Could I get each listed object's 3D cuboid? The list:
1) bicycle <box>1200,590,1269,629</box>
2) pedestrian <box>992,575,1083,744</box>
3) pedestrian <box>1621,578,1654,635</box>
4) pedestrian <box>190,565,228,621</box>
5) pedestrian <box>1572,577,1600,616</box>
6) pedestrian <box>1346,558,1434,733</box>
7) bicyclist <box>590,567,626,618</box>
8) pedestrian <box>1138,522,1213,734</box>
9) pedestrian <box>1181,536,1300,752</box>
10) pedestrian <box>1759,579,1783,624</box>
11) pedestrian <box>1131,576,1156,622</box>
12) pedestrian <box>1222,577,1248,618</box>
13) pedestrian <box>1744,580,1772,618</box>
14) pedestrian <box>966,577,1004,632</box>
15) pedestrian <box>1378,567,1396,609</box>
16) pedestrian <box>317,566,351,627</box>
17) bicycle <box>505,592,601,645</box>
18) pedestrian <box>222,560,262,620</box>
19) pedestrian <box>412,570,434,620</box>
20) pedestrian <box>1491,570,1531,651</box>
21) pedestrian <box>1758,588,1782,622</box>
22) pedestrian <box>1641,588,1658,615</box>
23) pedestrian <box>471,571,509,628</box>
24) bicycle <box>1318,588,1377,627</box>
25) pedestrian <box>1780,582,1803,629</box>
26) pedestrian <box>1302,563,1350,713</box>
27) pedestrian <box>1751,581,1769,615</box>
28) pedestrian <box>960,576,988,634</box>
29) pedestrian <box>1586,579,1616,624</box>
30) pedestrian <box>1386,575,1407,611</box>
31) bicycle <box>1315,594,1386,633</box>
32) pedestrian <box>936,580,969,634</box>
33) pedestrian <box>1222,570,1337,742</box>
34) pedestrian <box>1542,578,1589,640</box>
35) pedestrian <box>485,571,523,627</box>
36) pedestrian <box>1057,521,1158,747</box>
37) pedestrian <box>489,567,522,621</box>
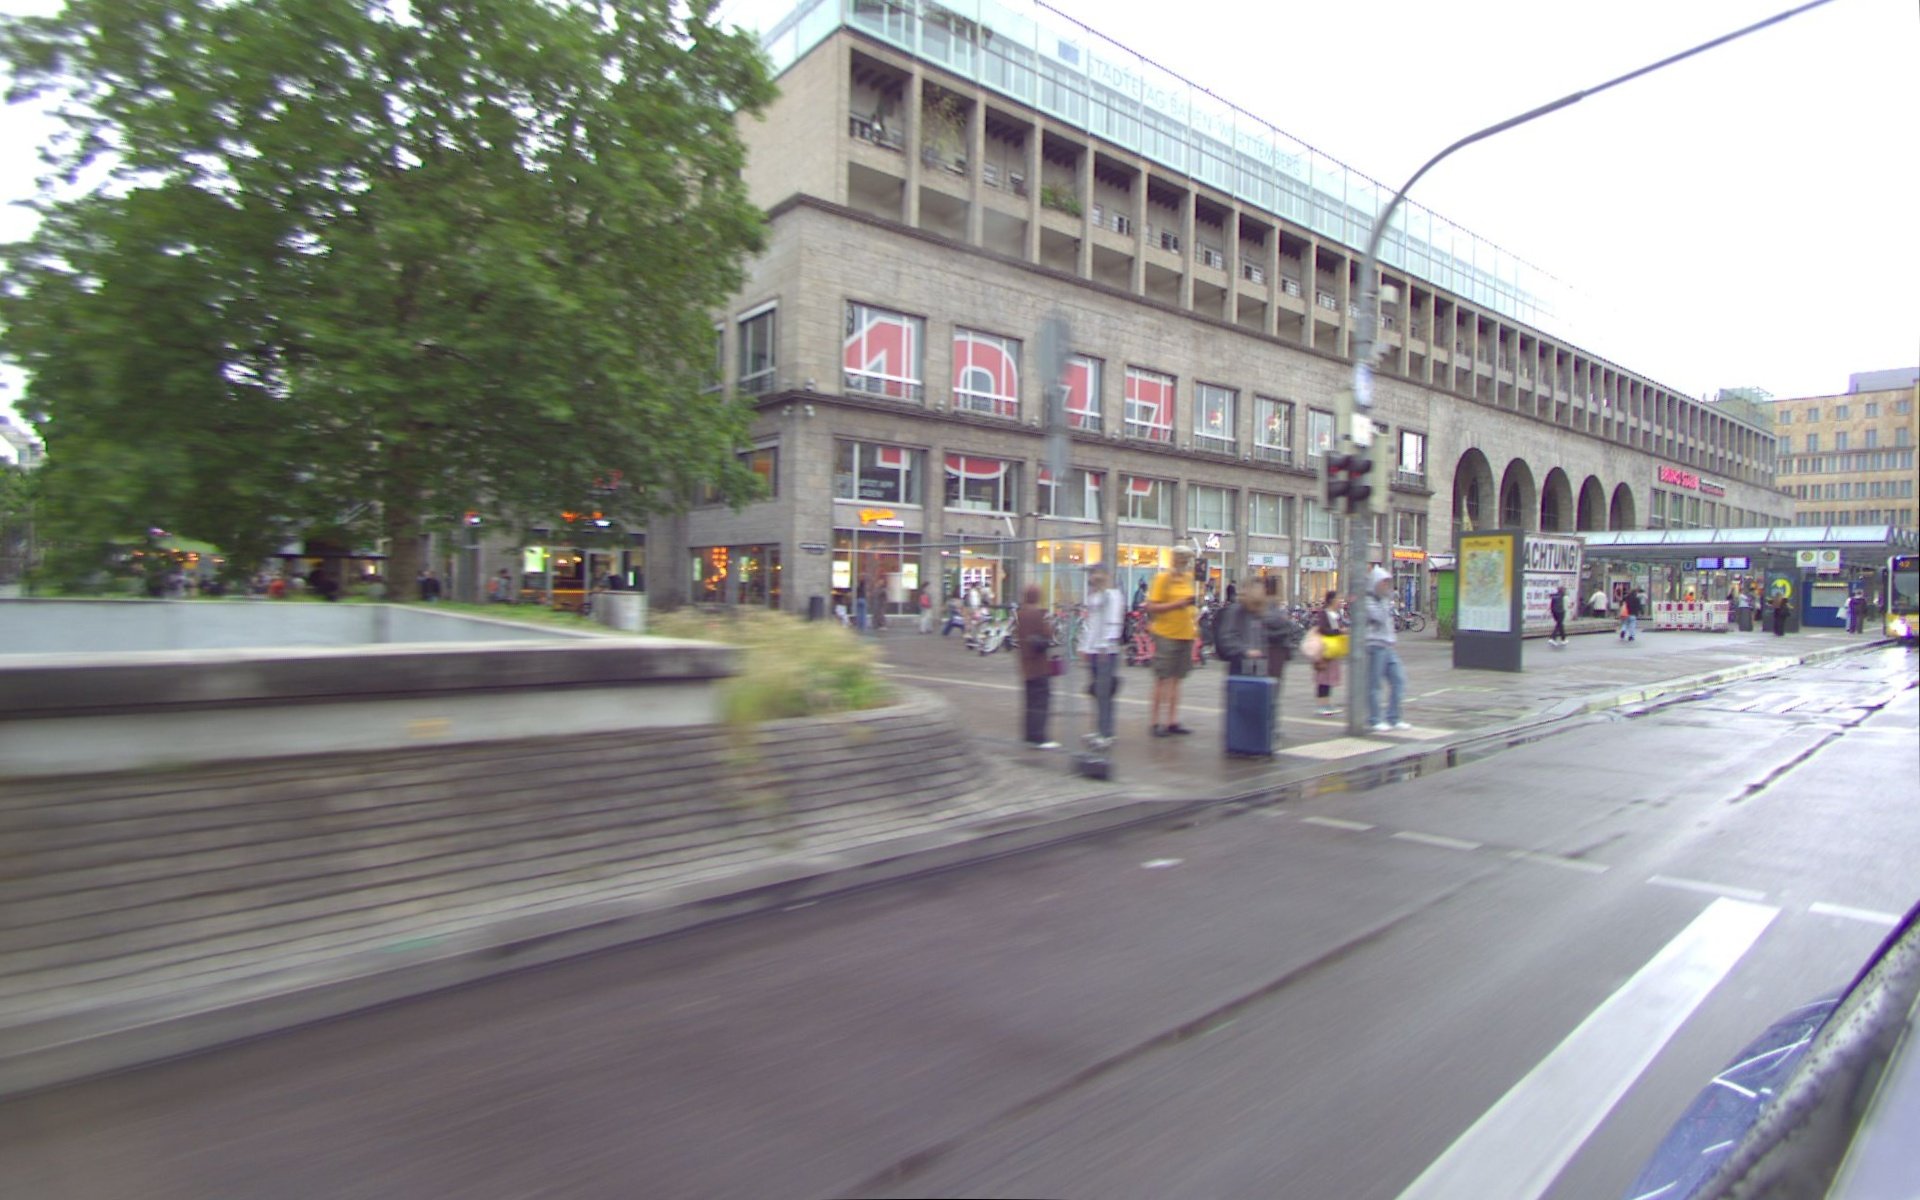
[{"bbox_3d":[8.744,0.271,32.272,1.971,1.123,0.815,3,2,36],"label":"bicycle"},{"bbox_3d":[0.749,0.551,9.868,0.621,1.574,0.659,-1,0,-27],"label":"pedestrian"},{"bbox_3d":[20.098,0.182,30.026,0.491,1.639,0.654,0,1,-25],"label":"pedestrian"},{"bbox_3d":[-27.616,-0.267,37.211,0.979,2.039,0.841,-1,0,33],"label":"pedestrian"},{"bbox_3d":[30.047,-0.177,48.605,0.981,1.815,0.783,1,1,22],"label":"pedestrian"},{"bbox_3d":[4.717,0.467,11.094,0.743,1.827,0.701,1,1,35],"label":"pedestrian"},{"bbox_3d":[-11.091,-0.246,31.910,0.891,1.573,0.651,1,1,4],"label":"bicyclist"},{"bbox_3d":[2.298,0.280,10.782,0.552,2.172,0.660,1,1,35],"label":"pedestrian"},{"bbox_3d":[2.601,0.369,9.346,0.784,1.861,0.938,1,1,35],"label":"pedestrian"},{"bbox_3d":[35.751,0.048,44.622,0.792,1.953,0.695,1,1,40],"label":"pedestrian"},{"bbox_3d":[6.925,-0.041,38.182,0.696,1.710,0.598,-1,1,-40],"label":"pedestrian"},{"bbox_3d":[11.604,-0.107,42.734,0.763,1.718,0.722,-1,0,-41],"label":"pedestrian"},{"bbox_3d":[39.179,-0.041,49.707,0.780,1.827,0.985,1,1,22],"label":"pedestrian"},{"bbox_3d":[0.789,0.137,31.659,0.871,1.695,0.795,-1,0,-33],"label":"pedestrian"},{"bbox_3d":[20.421,-0.581,48.413,0.781,1.953,0.649,1,1,26],"label":"pedestrian"},{"bbox_3d":[-19.701,-0.102,31.847,0.820,1.887,0.820,-1,0,-39],"label":"pedestrian"},{"bbox_3d":[-9.312,0.408,23.167,1.957,1.132,0.618,0,2,-33],"label":"bicycle"},{"bbox_3d":[-25.024,-0.349,35.285,0.979,2.039,0.841,-1,0,33],"label":"pedestrian"},{"bbox_3d":[-17.884,-0.173,33.695,0.452,1.659,0.441,-1,0,8],"label":"pedestrian"},{"bbox_3d":[13.522,0.235,24.820,0.705,1.957,0.777,1,1,40],"label":"pedestrian"},{"bbox_3d":[41.513,0.243,51.879,0.885,1.716,0.751,0,0,-36],"label":"pedestrian"},{"bbox_3d":[42.694,0.094,62.688,0.792,1.639,0.859,1,1,40],"label":"pedestrian"},{"bbox_3d":[-14.126,-0.020,30.419,0.761,1.688,0.707,-1,0,21],"label":"pedestrian"},{"bbox_3d":[13.709,0.259,35.867,0.605,1.252,1.999,0,2,-29],"label":"bicycle"},{"bbox_3d":[29.145,0.183,35.470,0.592,1.639,0.504,-1,0,40],"label":"pedestrian"},{"bbox_3d":[4.644,0.453,12.820,0.534,1.827,0.752,1,1,22],"label":"pedestrian"},{"bbox_3d":[45.184,-0.114,57.161,0.579,1.898,0.598,0,0,-7],"label":"pedestrian"},{"bbox_3d":[0.387,0.124,28.941,0.603,1.621,0.648,0,2,-19],"label":"pedestrian"},{"bbox_3d":[26.200,0.046,41.393,0.741,1.815,0.736,0,1,-25],"label":"pedestrian"},{"bbox_3d":[22.377,-0.369,51.861,0.775,1.814,0.732,0,1,-40],"label":"pedestrian"},{"bbox_3d":[13.298,0.452,34.486,2.144,1.252,0.619,1,2,-5],"label":"bicycle"},{"bbox_3d":[-0.223,0.184,29.505,0.766,1.542,0.673,0,1,-17],"label":"pedestrian"},{"bbox_3d":[3.348,0.543,10.619,0.745,1.712,0.877,0,1,-40],"label":"pedestrian"},{"bbox_3d":[16.583,0.233,27.737,0.773,1.662,0.789,0,1,-25],"label":"pedestrian"},{"bbox_3d":[-14.059,-0.027,31.208,0.761,1.688,0.707,-1,0,21],"label":"pedestrian"},{"bbox_3d":[1.482,0.319,10.222,0.706,2.172,0.712,0,1,-28],"label":"pedestrian"},{"bbox_3d":[-15.250,-0.198,33.960,0.848,1.785,0.707,0,2,-10],"label":"pedestrian"}]
